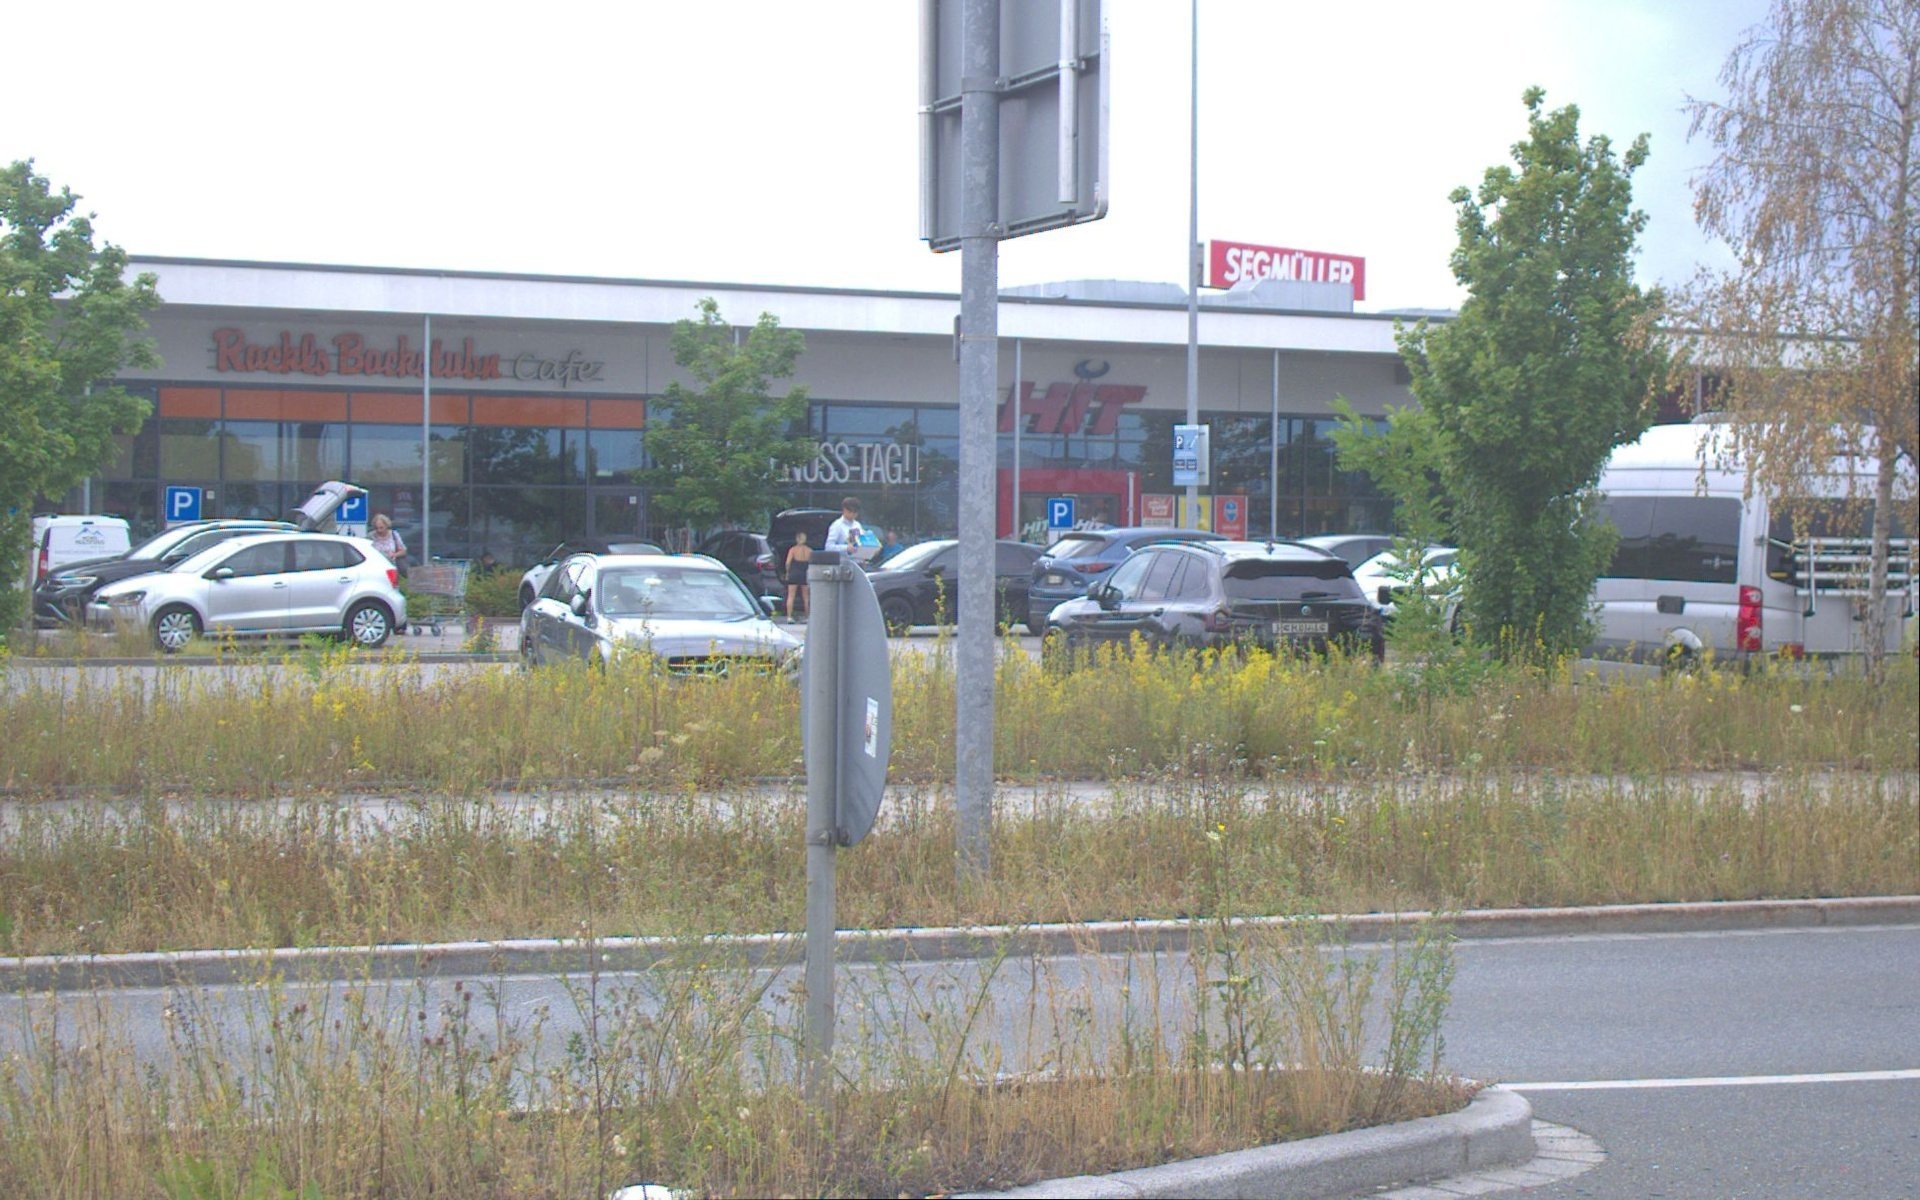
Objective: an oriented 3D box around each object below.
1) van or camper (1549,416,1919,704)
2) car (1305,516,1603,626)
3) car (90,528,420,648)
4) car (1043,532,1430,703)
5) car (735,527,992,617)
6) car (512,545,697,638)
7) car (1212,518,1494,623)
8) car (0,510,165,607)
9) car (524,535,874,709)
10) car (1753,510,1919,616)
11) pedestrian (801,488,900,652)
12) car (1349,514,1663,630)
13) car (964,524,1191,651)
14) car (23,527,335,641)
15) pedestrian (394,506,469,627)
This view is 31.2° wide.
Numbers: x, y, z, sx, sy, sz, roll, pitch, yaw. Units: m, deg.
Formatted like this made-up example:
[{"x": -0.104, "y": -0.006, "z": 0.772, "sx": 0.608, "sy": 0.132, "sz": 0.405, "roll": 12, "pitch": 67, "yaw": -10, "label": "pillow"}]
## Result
[{"x": 7.358, "y": -0.367, "z": 31.952, "sx": 2.282, "sy": 2.484, "sz": 4.001, "roll": 0, "pitch": 1, "yaw": -14, "label": "van or camper"}, {"x": 7.465, "y": -0.457, "z": 52.077, "sx": 3.986, "sy": 1.612, "sz": 2.001, "roll": 0, "pitch": 1, "yaw": -19, "label": "car"}, {"x": -8.862, "y": -0.172, "z": 43.236, "sx": 3.746, "sy": 1.449, "sz": 1.668, "roll": 0, "pitch": 2, "yaw": -27, "label": "car"}, {"x": 2.431, "y": 0.127, "z": 31.361, "sx": 1.988, "sy": 1.446, "sz": 4.151, "roll": 0, "pitch": 1, "yaw": -19, "label": "car"}, {"x": -1.674, "y": -0.503, "z": 59.609, "sx": 3.986, "sy": 1.503, "sz": 2.000, "roll": 0, "pitch": 2, "yaw": -26, "label": "car"}, {"x": -6.207, "y": -0.172, "z": 59.679, "sx": 1.993, "sy": 1.503, "sz": 4.001, "roll": 0, "pitch": 2, "yaw": -25, "label": "car"}, {"x": 6.230, "y": -0.496, "z": 54.654, "sx": 3.986, "sy": 1.612, "sz": 2.001, "roll": 0, "pitch": 1, "yaw": -19, "label": "car"}, {"x": -14.258, "y": -0.695, "z": 55.464, "sx": 1.993, "sy": 1.503, "sz": 4.001, "roll": 0, "pitch": 1, "yaw": -25, "label": "car"}, {"x": -2.328, "y": 0.149, "z": 29.629, "sx": 1.988, "sy": 1.379, "sz": 4.151, "roll": 0, "pitch": 1, "yaw": -19, "label": "car"}, {"x": 16.304, "y": -0.640, "z": 60.452, "sx": 4.413, "sy": 1.812, "sz": 2.000, "roll": 0, "pitch": 1, "yaw": -30, "label": "car"}, {"x": -1.366, "y": -0.381, "z": 42.754, "sx": 1.000, "sy": 2.007, "sz": 0.868, "roll": 0, "pitch": 1, "yaw": -19, "label": "pedestrian"}, {"x": 7.838, "y": -0.423, "z": 49.470, "sx": 3.986, "sy": 1.612, "sz": 2.001, "roll": 0, "pitch": 1, "yaw": -19, "label": "car"}, {"x": 1.561, "y": -0.217, "z": 47.109, "sx": 1.814, "sy": 1.647, "sz": 4.001, "roll": 0, "pitch": 1, "yaw": -19, "label": "car"}, {"x": -10.383, "y": -0.234, "z": 45.716, "sx": 3.746, "sy": 1.449, "sz": 1.668, "roll": 0, "pitch": 2, "yaw": -27, "label": "car"}, {"x": -7.205, "y": -0.452, "z": 46.832, "sx": 0.821, "sy": 1.626, "sz": 0.899, "roll": 0, "pitch": 1, "yaw": -22, "label": "pedestrian"}]
